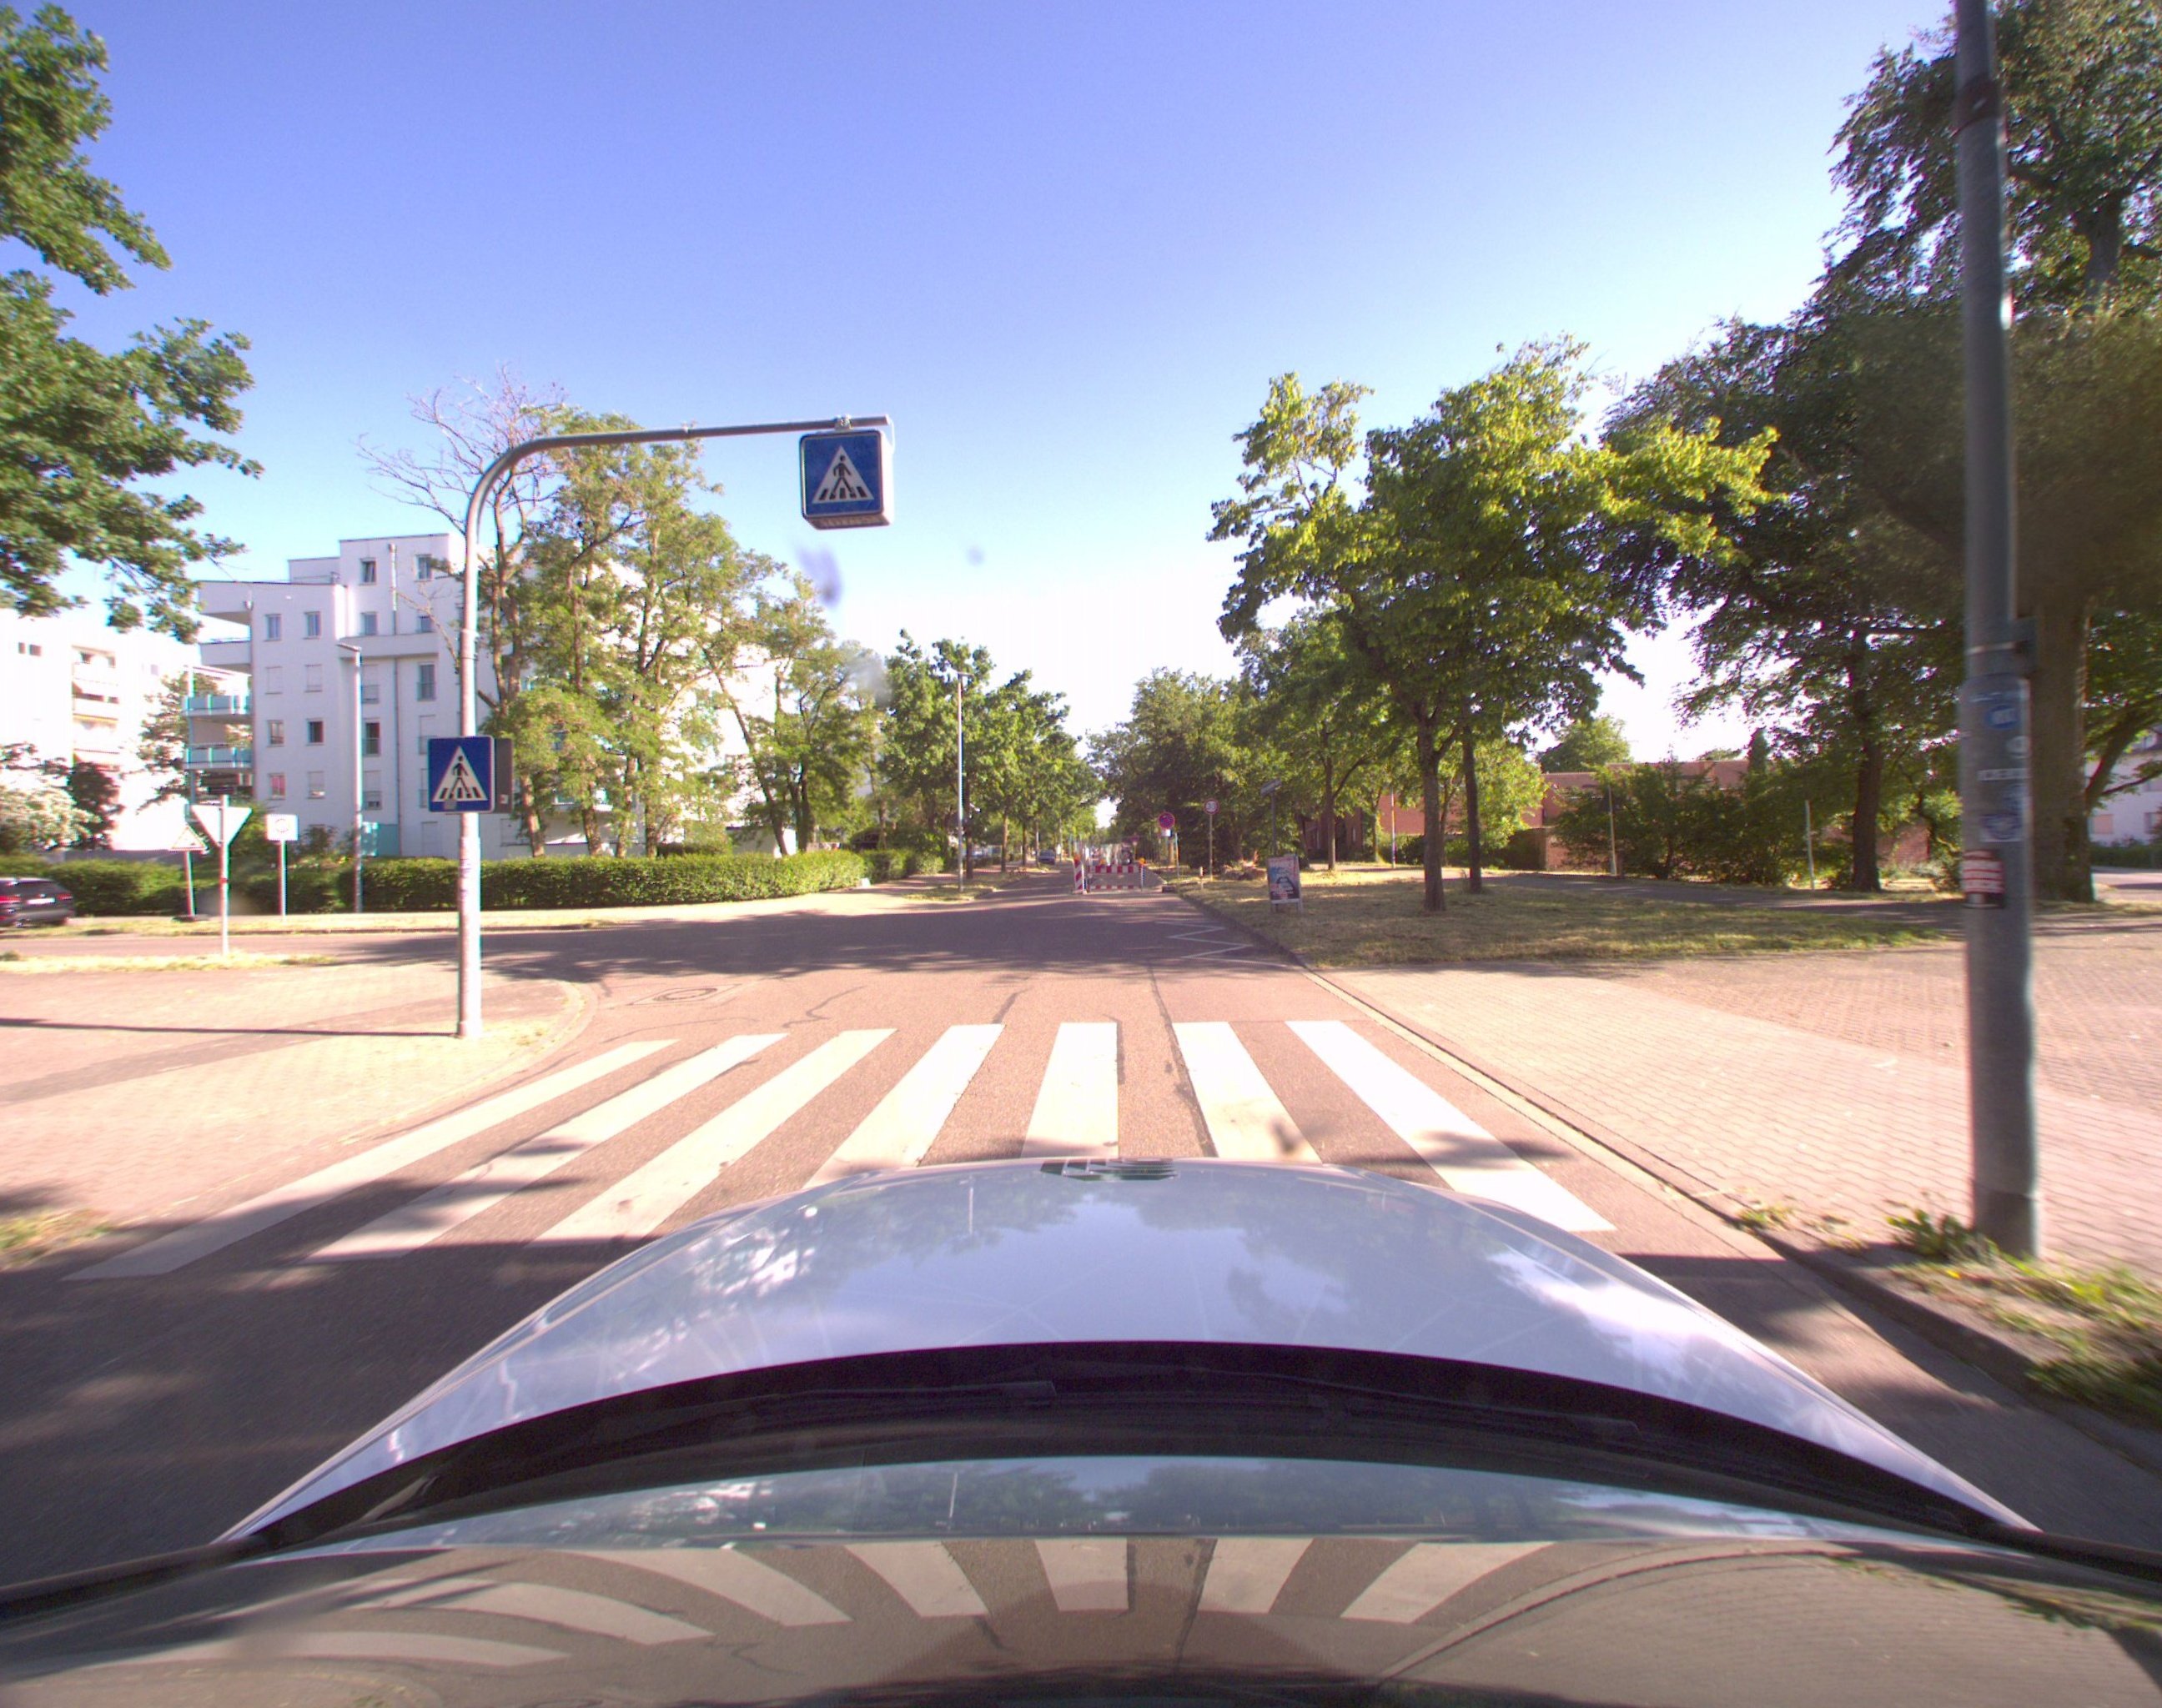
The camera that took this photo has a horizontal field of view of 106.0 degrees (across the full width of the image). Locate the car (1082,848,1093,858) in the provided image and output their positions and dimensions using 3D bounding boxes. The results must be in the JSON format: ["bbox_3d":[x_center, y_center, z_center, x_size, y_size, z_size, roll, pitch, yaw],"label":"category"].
[{"bbox_3d":[1.227,-0.214,151.782,1.986,1.716,4.001,-2,0,1],"label":"car"}]

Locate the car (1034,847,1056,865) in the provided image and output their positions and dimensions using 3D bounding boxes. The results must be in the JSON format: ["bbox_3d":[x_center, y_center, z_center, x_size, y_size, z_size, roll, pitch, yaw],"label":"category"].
[{"bbox_3d":[-3.691,0.187,84.258,1.986,1.716,4.001,-1,0,1],"label":"car"}]

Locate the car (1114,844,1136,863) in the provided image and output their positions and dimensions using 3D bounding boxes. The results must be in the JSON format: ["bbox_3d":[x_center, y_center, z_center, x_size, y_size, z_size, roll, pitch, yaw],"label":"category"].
[{"bbox_3d":[4.198,-0.064,77.975,1.986,1.716,4.001,-1,0,1],"label":"car"}]

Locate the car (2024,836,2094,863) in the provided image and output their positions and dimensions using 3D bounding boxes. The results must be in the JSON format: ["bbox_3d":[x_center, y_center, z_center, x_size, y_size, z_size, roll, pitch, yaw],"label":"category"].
[{"bbox_3d":[56.996,-0.268,47.513,1.714,1.555,3.489,-1,0,35],"label":"car"}]

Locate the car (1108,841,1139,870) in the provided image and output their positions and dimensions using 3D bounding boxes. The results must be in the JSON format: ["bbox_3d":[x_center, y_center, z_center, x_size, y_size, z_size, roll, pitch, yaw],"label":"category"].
[{"bbox_3d":[2.941,0.106,57.100,1.986,1.933,4.001,-1,0,1],"label":"car"}]

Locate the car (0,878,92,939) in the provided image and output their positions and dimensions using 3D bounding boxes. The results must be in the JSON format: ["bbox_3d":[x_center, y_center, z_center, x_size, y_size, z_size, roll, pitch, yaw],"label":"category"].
[{"bbox_3d":[-31.546,1.556,23.507,3.964,1.613,2.019,-1,0,8],"label":"car"}]

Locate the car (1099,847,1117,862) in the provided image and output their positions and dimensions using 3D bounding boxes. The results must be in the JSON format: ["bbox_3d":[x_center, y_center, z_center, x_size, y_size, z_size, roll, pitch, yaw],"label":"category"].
[{"bbox_3d":[3.082,0.057,93.761,1.986,1.716,4.001,-1,0,1],"label":"car"}]

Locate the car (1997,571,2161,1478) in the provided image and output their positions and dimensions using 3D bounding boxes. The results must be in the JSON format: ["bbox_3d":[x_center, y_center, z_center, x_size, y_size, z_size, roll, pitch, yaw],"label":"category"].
[{"bbox_3d":[5.068,0.315,1.157,5.170,2.105,2.082,-2,0,0],"label":"car"}]
